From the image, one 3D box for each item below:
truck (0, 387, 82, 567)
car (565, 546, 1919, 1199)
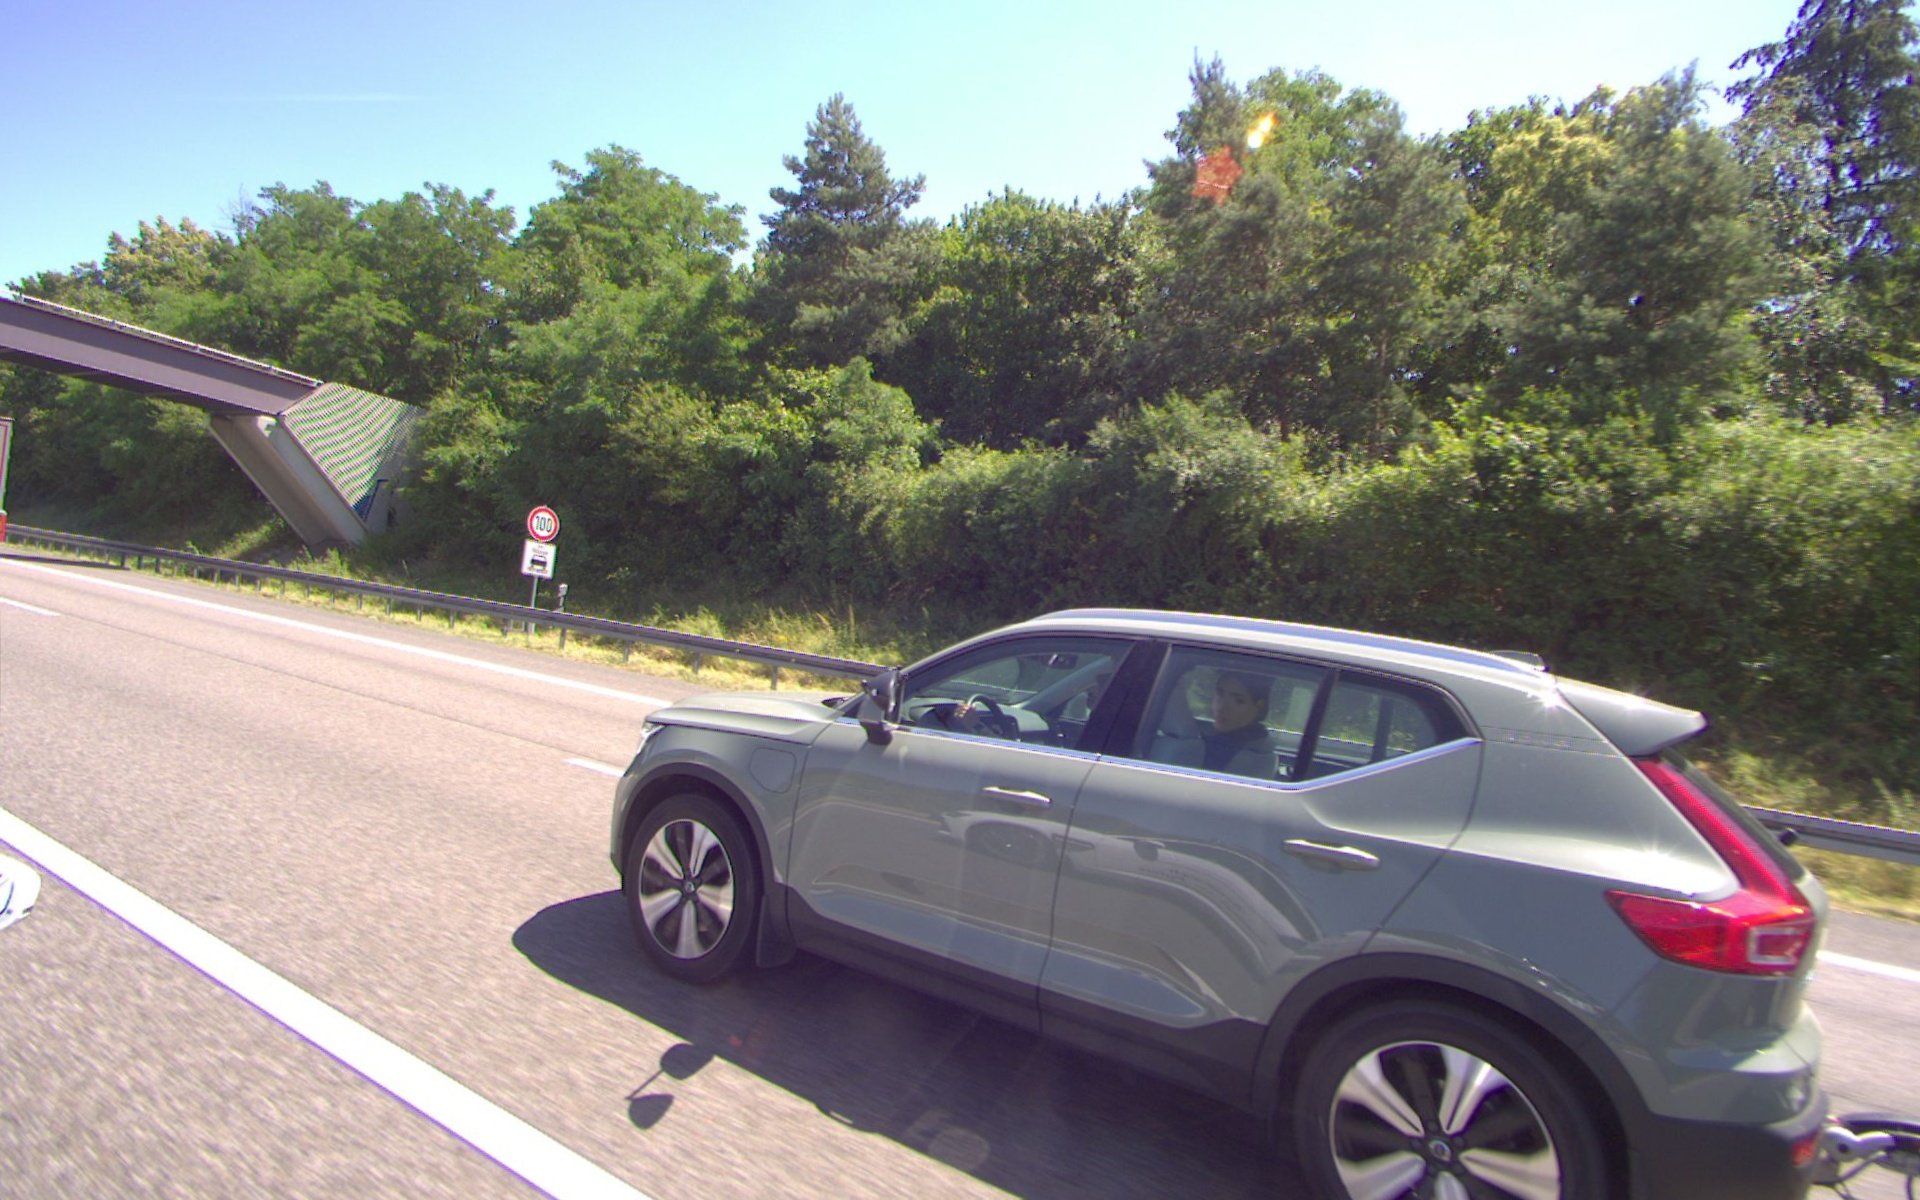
[{"bbox_3d":[-29.098,-3.695,27.866,11.459,4.293,3.579,6,-2,32],"label":"truck"},{"bbox_3d":[0.881,0.884,3.729,4.625,1.631,1.882,6,-2,33],"label":"car"}]
